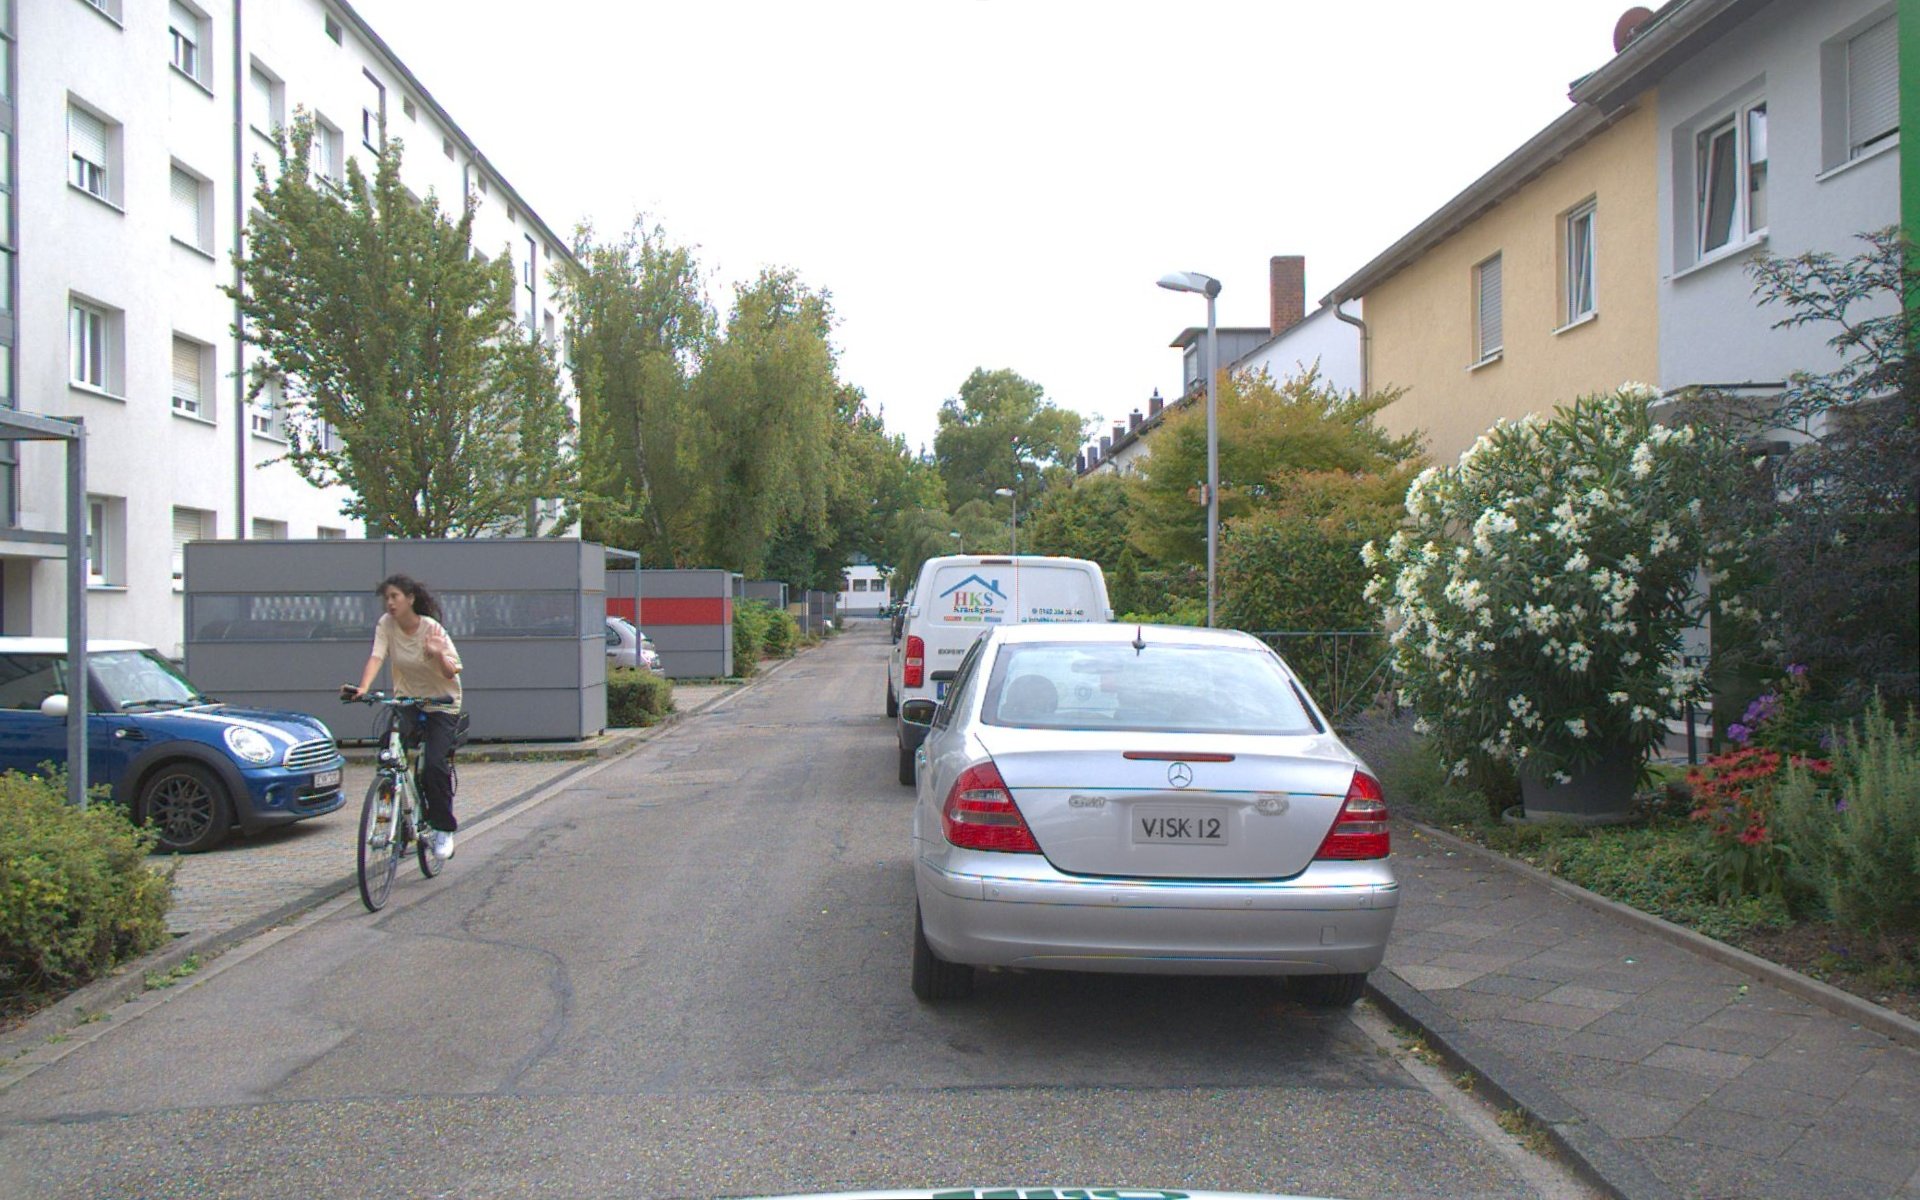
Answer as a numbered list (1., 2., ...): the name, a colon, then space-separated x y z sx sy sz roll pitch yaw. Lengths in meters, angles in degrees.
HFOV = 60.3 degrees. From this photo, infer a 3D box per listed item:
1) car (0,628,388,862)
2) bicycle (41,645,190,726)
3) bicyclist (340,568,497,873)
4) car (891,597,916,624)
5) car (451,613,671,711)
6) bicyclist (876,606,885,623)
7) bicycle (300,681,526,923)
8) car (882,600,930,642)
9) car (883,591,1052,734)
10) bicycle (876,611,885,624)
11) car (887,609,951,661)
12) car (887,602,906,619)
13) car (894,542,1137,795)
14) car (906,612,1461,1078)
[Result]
1. car: -6.204 1.007 11.901 3.560 1.487 1.653 -2 0 1
2. bicycle: -11.760 1.170 23.080 1.796 1.042 0.471 0 0 -44
3. bicyclist: -3.012 0.646 9.248 0.585 1.608 0.767 -2 0 -1
4. car: -4.216 0.767 124.343 1.788 1.916 3.998 1 0 -2
5. car: -6.852 1.044 28.700 3.494 1.506 1.708 -2 0 -7
6. bicyclist: -7.190 1.296 149.116 0.782 1.537 0.934 1 -1 0
7. bicycle: -2.996 1.056 9.267 0.585 1.095 2.042 -2 0 -1
8. car: -2.243 0.836 67.729 1.789 1.609 3.997 1 0 -4
9. car: -0.002 0.742 21.476 1.789 1.664 4.157 1 0 -5
10. bicycle: -7.202 1.606 149.079 0.675 1.151 2.579 1 0 0
11. car: -1.226 1.006 48.870 1.788 1.394 4.329 1 0 -2
12. car: -6.328 1.043 165.320 1.788 1.609 3.998 1 0 -2
13. car: 0.339 0.559 15.777 1.866 1.999 5.250 1 0 -3
14. car: 0.682 0.795 7.459 1.747 1.445 4.454 1 0 -1
